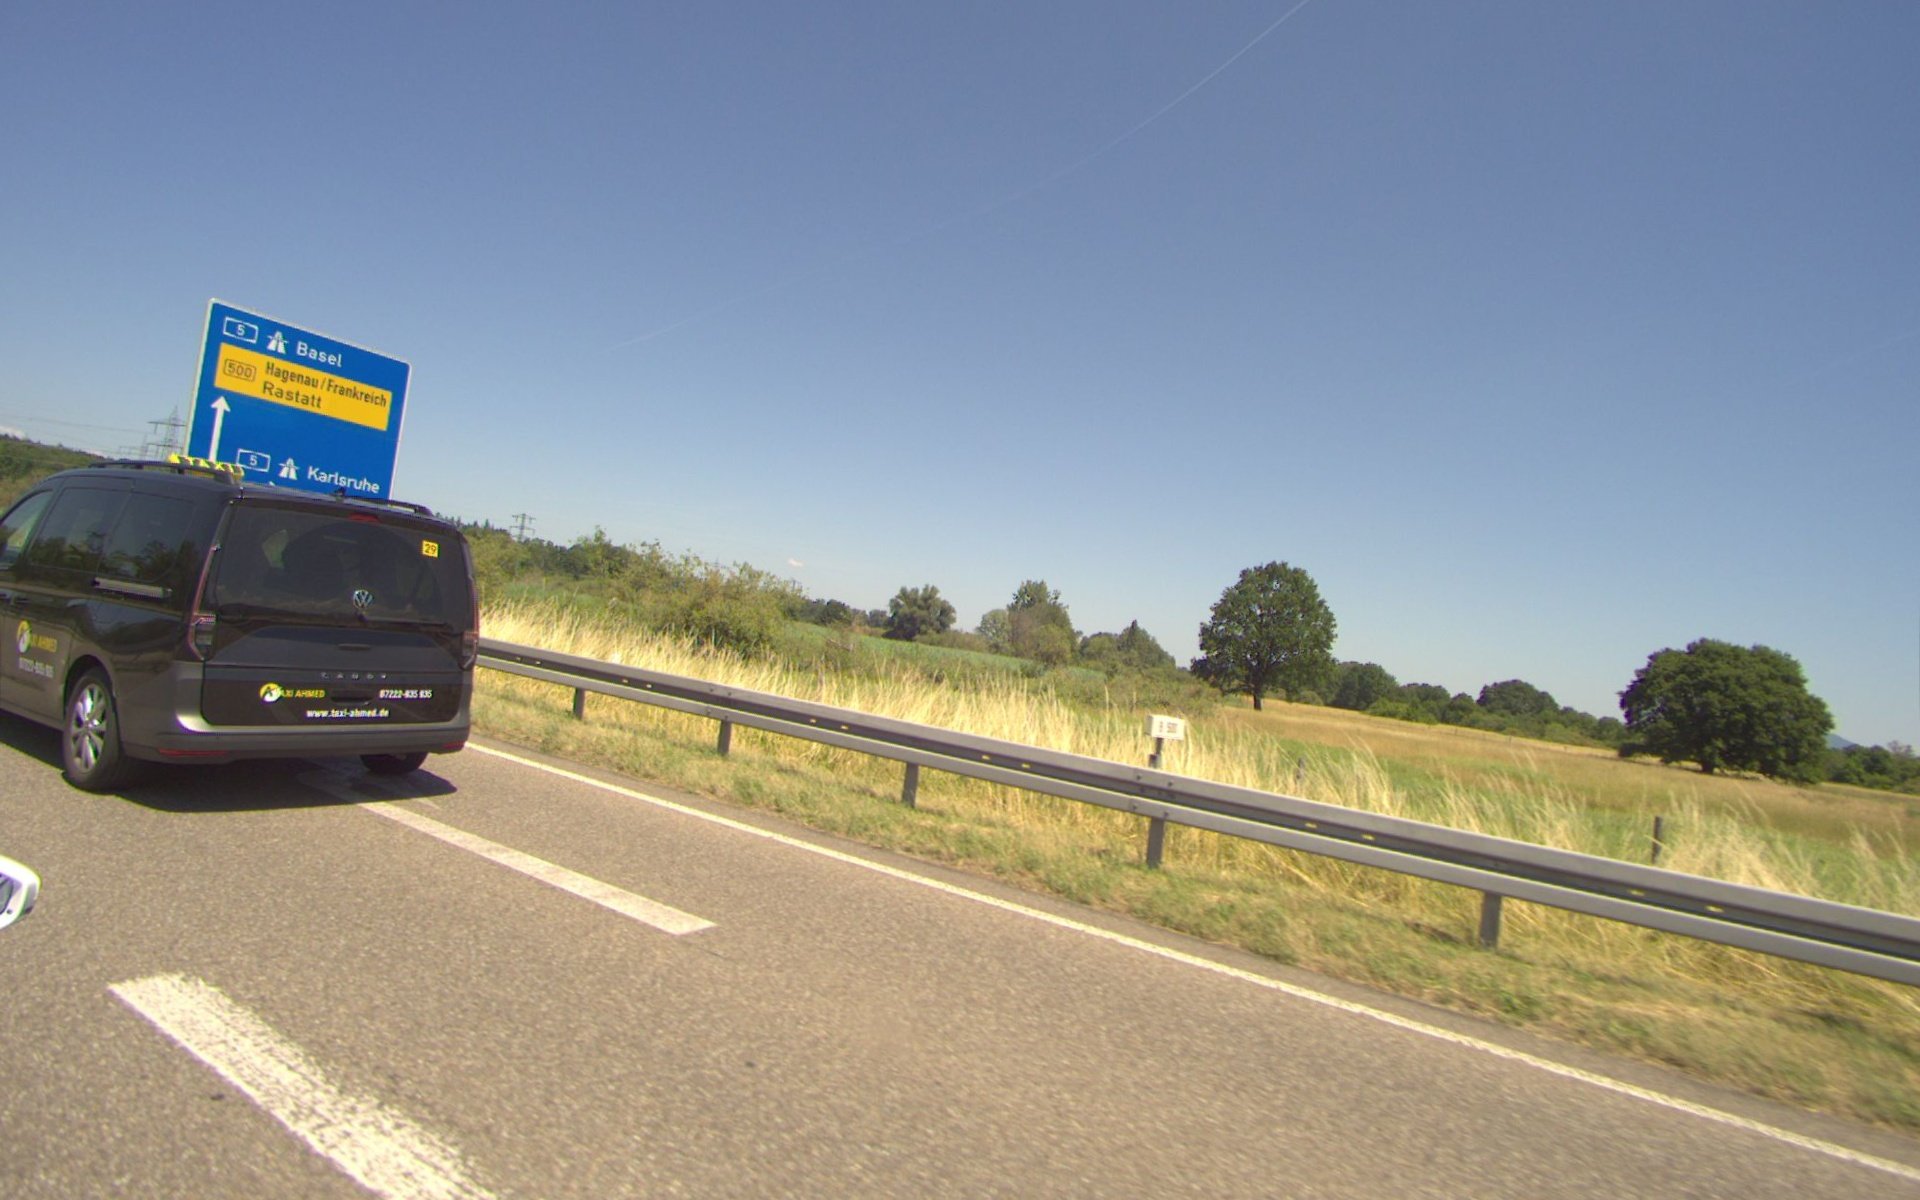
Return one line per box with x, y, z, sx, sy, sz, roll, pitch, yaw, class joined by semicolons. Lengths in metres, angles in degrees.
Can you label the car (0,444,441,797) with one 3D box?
-5.831;0.008;7.131;4.143;1.838;1.783;7;-2;32;car
